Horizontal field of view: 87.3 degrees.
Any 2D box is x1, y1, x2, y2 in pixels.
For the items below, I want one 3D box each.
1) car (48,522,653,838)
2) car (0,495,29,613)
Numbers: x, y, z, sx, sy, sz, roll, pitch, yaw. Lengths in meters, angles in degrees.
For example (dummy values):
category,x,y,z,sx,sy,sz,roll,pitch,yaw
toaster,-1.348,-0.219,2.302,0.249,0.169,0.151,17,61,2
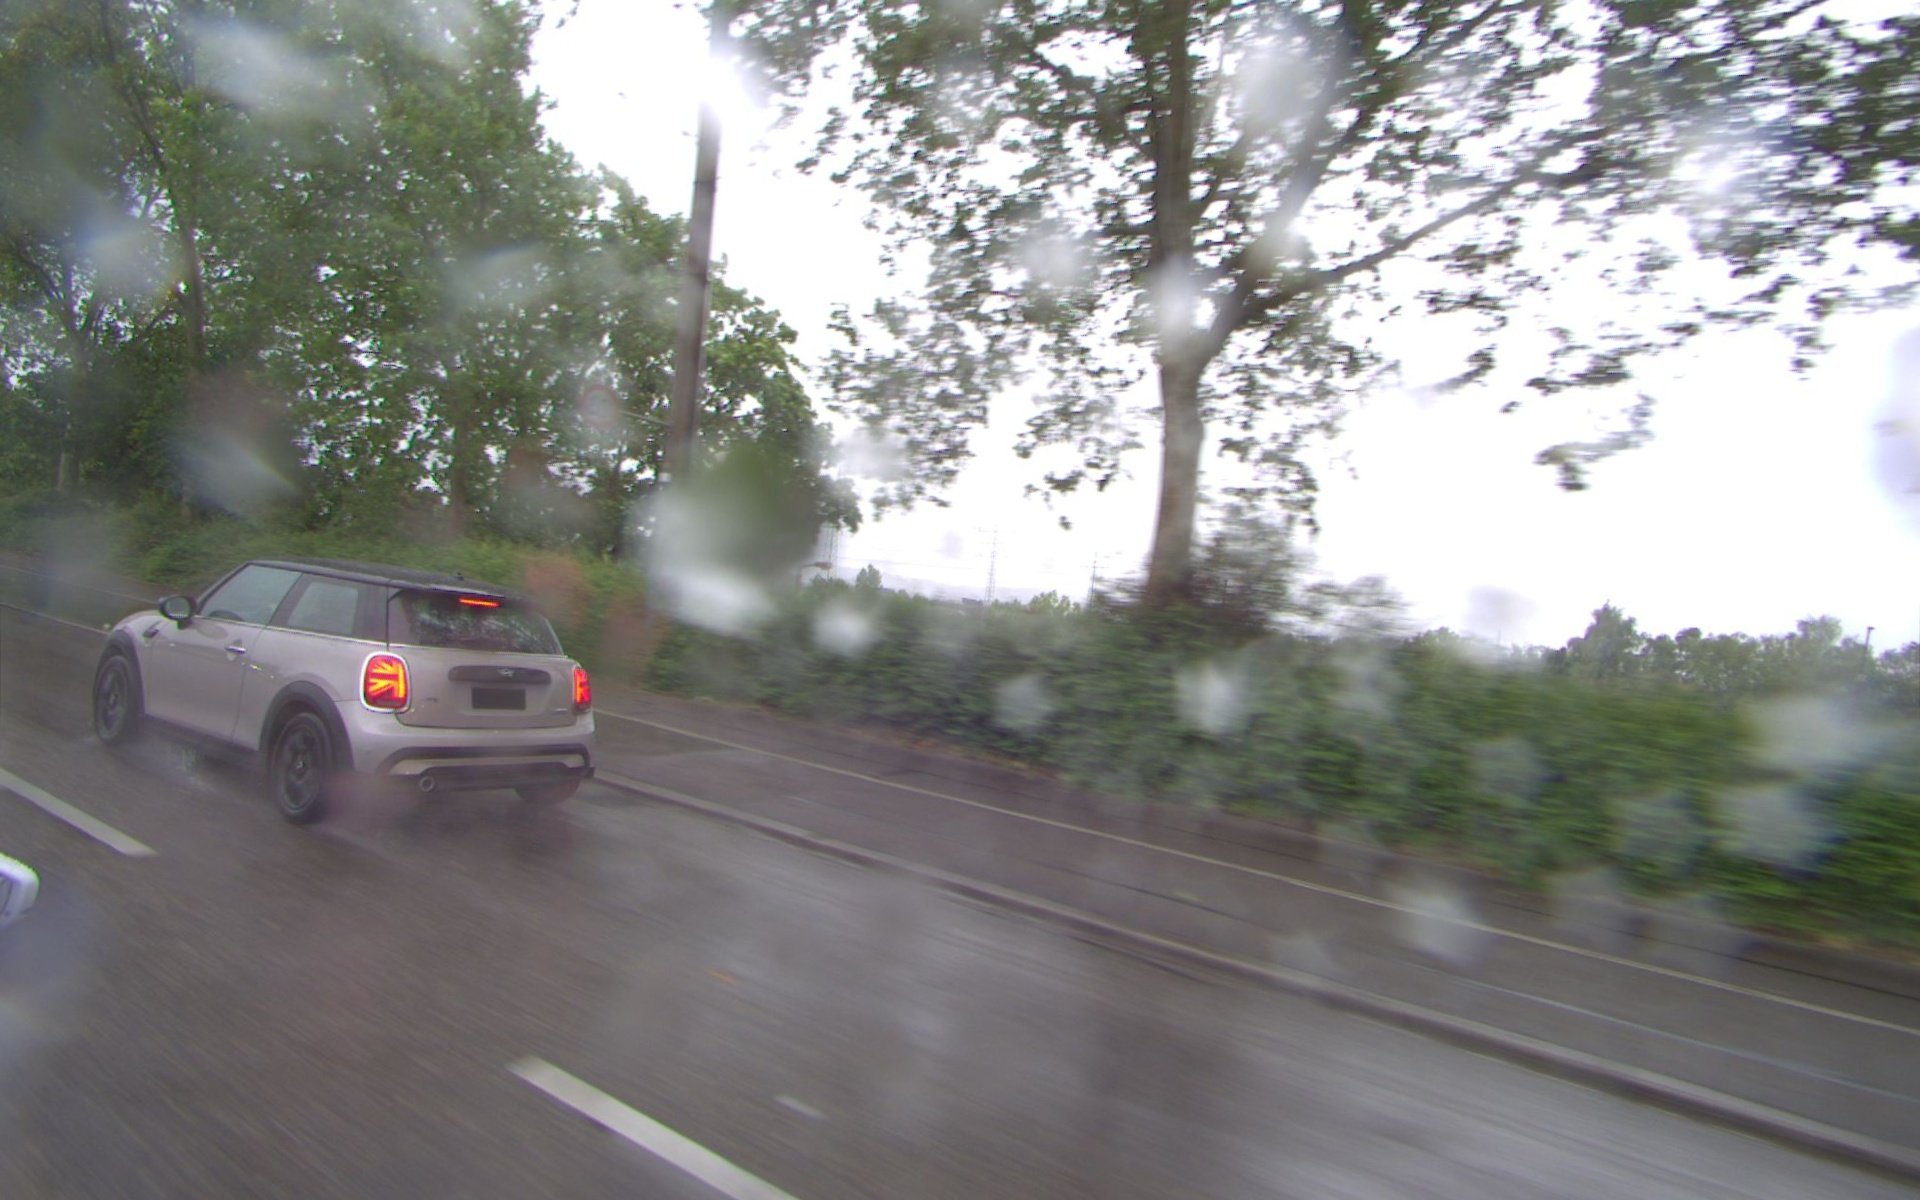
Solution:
category,x,y,z,sx,sy,sz,roll,pitch,yaw
car,-4.143,0.432,6.738,3.791,1.429,1.796,5,-4,32
car,-14.871,-0.900,13.797,3.924,1.546,1.972,7,-2,31
